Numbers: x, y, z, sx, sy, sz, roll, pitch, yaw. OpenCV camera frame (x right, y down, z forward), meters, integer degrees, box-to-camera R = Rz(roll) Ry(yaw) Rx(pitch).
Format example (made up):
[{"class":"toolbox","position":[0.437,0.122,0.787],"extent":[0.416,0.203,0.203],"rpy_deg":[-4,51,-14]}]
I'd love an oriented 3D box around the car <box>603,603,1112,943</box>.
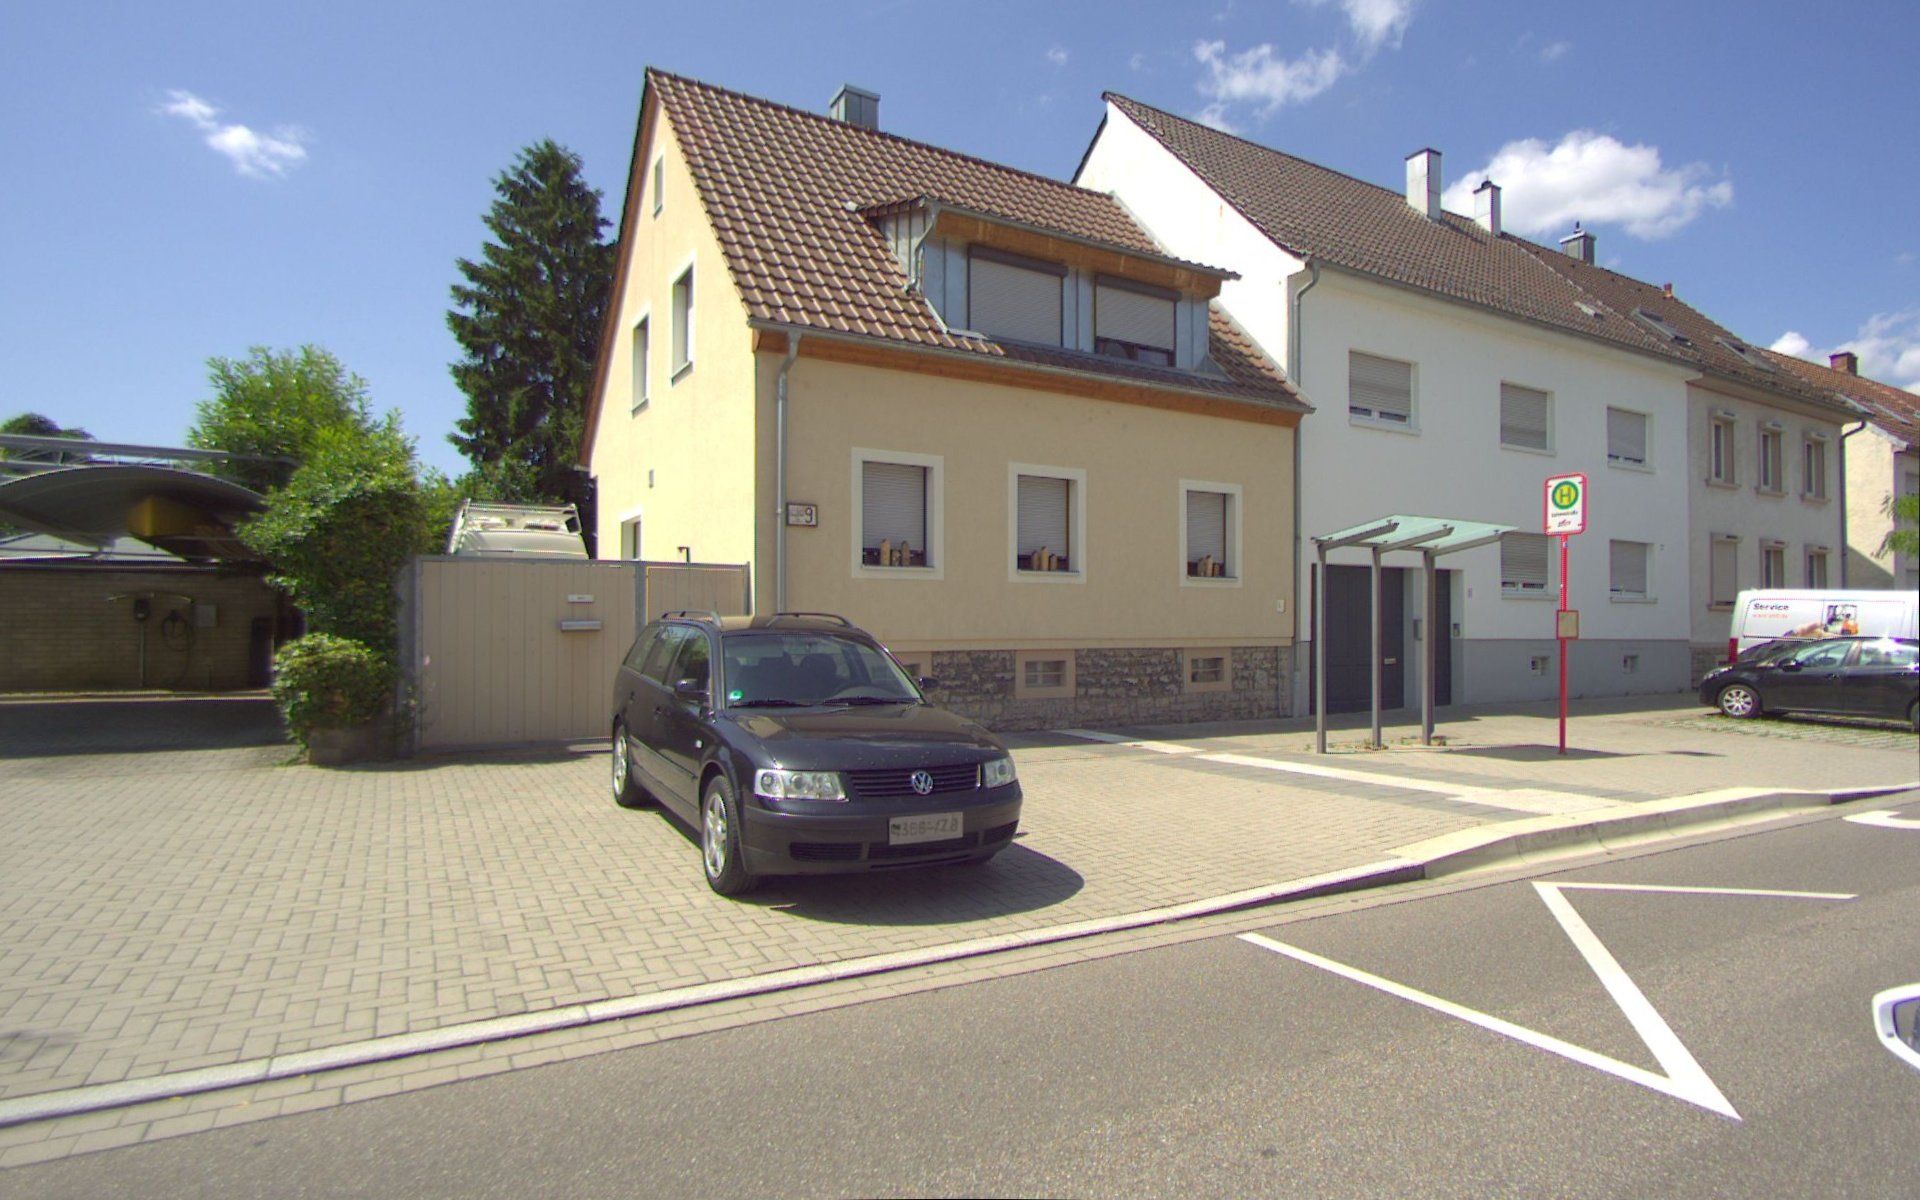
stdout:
[{"class":"car","position":[-1.099,0.811,7.017],"extent":[1.879,1.537,4.566],"rpy_deg":[1,-1,-29]}]

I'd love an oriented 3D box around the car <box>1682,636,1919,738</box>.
[{"class":"car","position":[14.676,1.382,16.697],"extent":[1.880,1.465,3.966],"rpy_deg":[1,-1,-32]}]

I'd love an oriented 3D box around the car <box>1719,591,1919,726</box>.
[{"class":"car","position":[17.176,1.026,18.104],"extent":[2.133,2.319,5.139],"rpy_deg":[1,0,-31]}]
